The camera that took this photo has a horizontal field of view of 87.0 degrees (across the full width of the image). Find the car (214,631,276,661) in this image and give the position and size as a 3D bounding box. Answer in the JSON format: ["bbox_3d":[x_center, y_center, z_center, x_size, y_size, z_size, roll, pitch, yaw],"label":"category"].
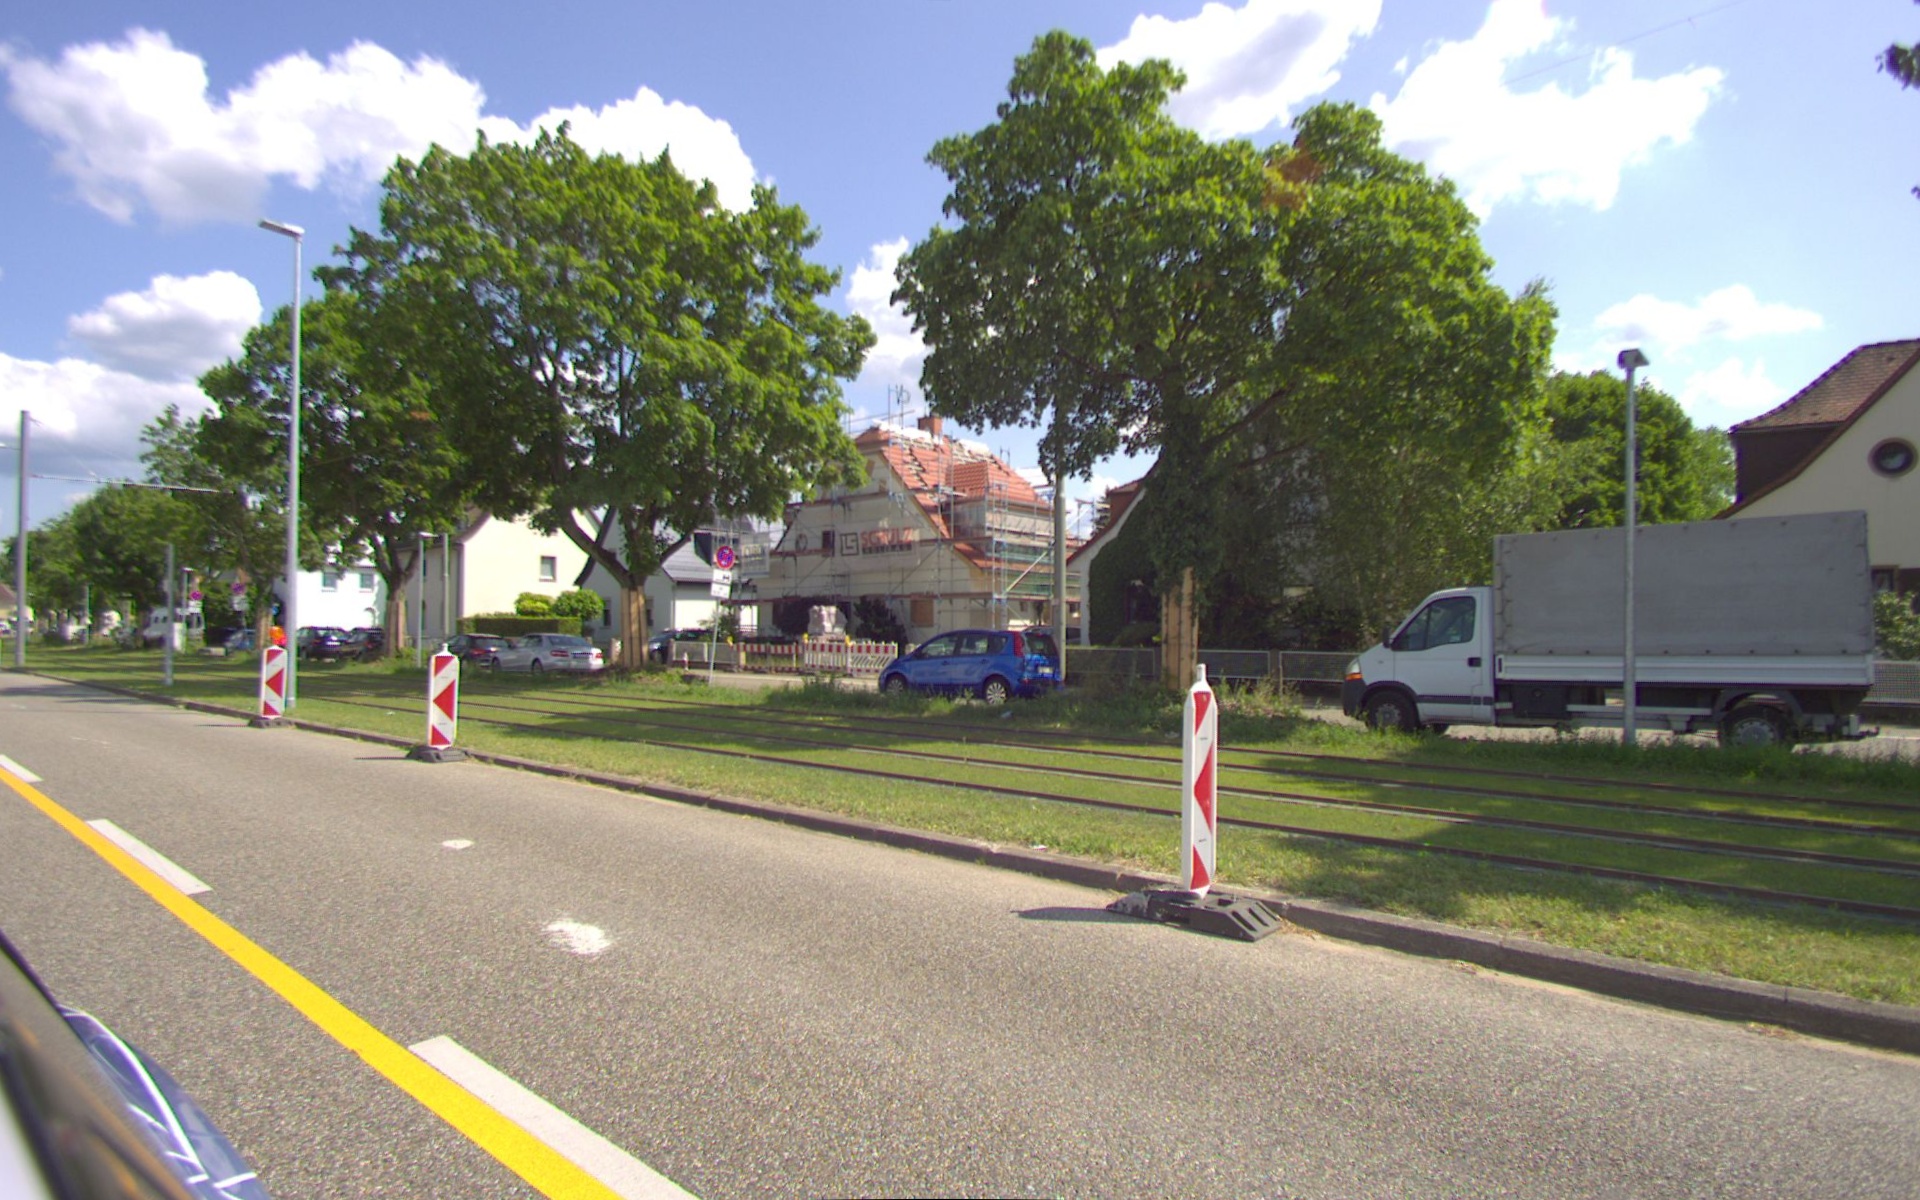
[{"bbox_3d":[-37.490,2.428,53.053,4.403,1.497,1.680,-3,-3,41],"label":"car"}]

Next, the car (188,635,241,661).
[{"bbox_3d":[-44.472,2.875,60.333,4.403,1.497,1.680,-3,-3,41],"label":"car"}]

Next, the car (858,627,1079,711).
[{"bbox_3d":[0.074,1.352,20.288,4.403,1.497,1.680,-3,-3,41],"label":"car"}]

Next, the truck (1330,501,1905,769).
[{"bbox_3d":[8.301,0.455,13.403,5.971,2.802,2.242,-2,-3,41],"label":"truck"}]

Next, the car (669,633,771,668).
[{"bbox_3d":[-10.922,2.292,46.212,1.702,1.497,4.345,-3,-3,41],"label":"car"}]

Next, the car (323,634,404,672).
[{"bbox_3d":[-25.176,2.253,42.654,4.403,1.497,1.680,-3,-3,41],"label":"car"}]

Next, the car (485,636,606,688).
[{"bbox_3d":[-13.126,1.934,31.893,4.520,1.497,1.765,-4,-3,42],"label":"car"}]

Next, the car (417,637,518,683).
[{"bbox_3d":[-17.517,2.119,35.895,4.403,1.497,1.680,-3,-3,41],"label":"car"}]

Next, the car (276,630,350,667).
[{"bbox_3d":[-29.491,2.224,46.077,4.403,1.584,1.680,-3,-3,41],"label":"car"}]

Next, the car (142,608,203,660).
[{"bbox_3d":[-49.511,2.161,63.610,5.080,3.061,2.108,-3,-3,41],"label":"car"}]
